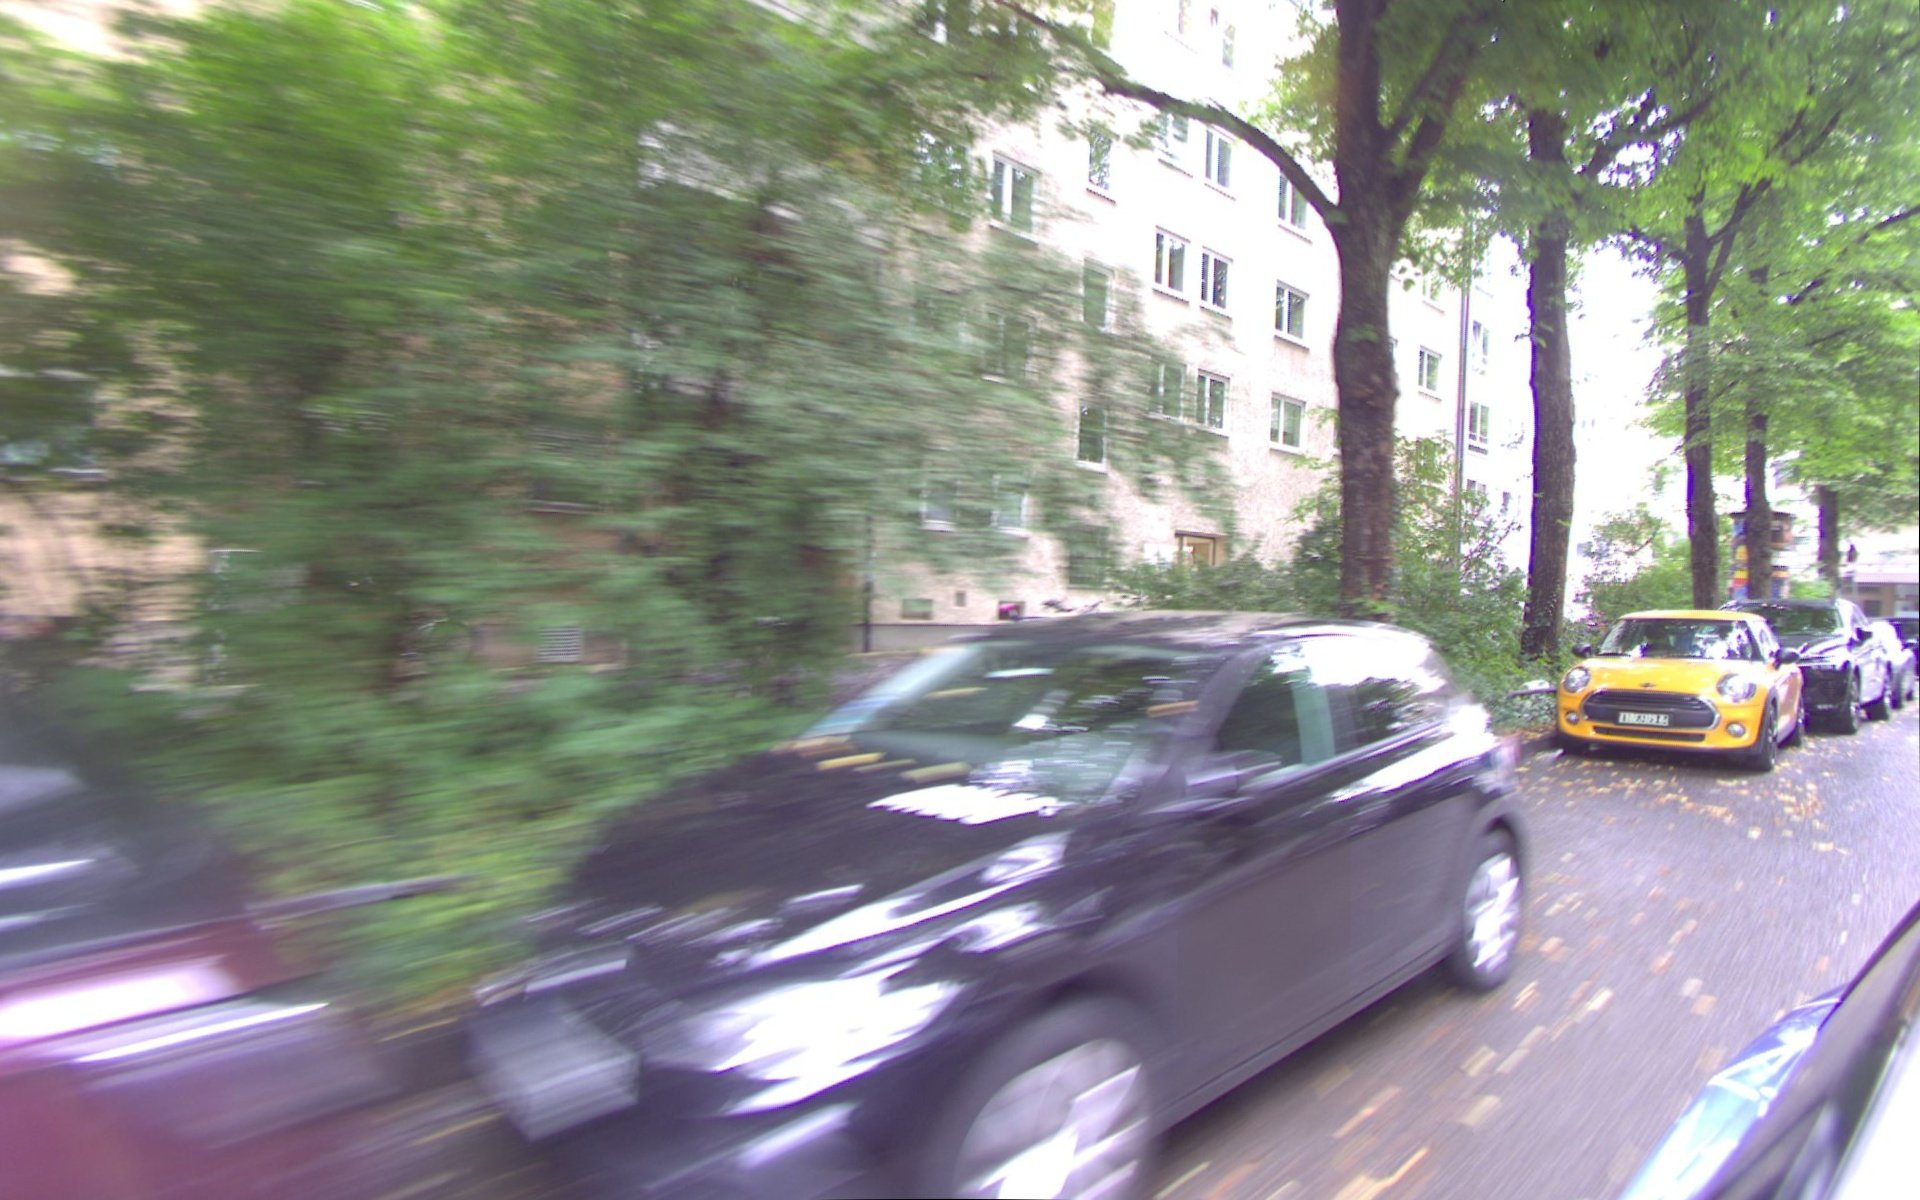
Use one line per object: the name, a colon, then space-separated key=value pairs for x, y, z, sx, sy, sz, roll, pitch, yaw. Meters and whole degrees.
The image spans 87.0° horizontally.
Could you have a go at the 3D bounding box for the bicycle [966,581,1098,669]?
bicycle: x=0.955 y=0.314 z=13.810 sx=1.829 sy=1.097 sz=0.539 roll=2 pitch=1 yaw=42

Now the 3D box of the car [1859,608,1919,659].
car: x=28.531 y=1.021 z=28.485 sx=1.928 sy=1.394 sz=4.721 roll=1 pitch=1 yaw=-45

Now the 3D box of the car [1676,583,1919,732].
car: x=11.238 y=0.661 z=13.430 sx=4.446 sy=1.649 sz=1.835 roll=1 pitch=0 yaw=-41

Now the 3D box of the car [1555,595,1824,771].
car: x=7.530 y=0.713 z=10.309 sx=3.718 sy=1.430 sz=1.619 roll=1 pitch=0 yaw=-45

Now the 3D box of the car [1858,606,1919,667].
car: x=24.924 y=0.952 z=25.019 sx=1.797 sy=1.465 sz=3.938 roll=1 pitch=1 yaw=-44

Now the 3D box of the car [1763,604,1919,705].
car: x=15.464 y=0.839 z=17.378 sx=4.353 sy=1.430 sz=1.902 roll=0 pitch=2 yaw=-42

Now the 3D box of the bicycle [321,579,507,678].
bicycle: x=-6.334 y=0.317 z=11.810 sx=1.805 sy=1.057 sz=0.554 roll=1 pitch=1 yaw=-43

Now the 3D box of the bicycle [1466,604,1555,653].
bicycle: x=13.714 y=0.684 z=25.235 sx=1.866 sy=1.138 sz=0.533 roll=2 pitch=0 yaw=37

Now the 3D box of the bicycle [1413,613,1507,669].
bicycle: x=10.833 y=0.871 z=21.955 sx=1.745 sy=1.138 sz=0.444 roll=1 pitch=0 yaw=14

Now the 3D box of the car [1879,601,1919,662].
car: x=26.809 y=0.886 z=26.411 sx=1.725 sy=1.575 sz=3.979 roll=1 pitch=1 yaw=-40

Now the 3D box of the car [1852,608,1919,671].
car: x=23.227 y=0.954 z=23.099 sx=1.703 sy=1.411 sz=4.092 roll=1 pitch=1 yaw=-39

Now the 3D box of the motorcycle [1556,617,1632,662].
motorcycle: x=18.742 y=1.150 z=29.926 sx=1.801 sy=1.213 sz=0.681 roll=2 pitch=1 yaw=43

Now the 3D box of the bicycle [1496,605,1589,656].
bicycle: x=13.966 y=0.712 z=24.278 sx=1.866 sy=1.138 sz=0.533 roll=2 pitch=0 yaw=37

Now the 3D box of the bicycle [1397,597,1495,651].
bicycle: x=10.939 y=0.524 z=22.822 sx=1.934 sy=1.138 sz=0.440 roll=2 pitch=0 yaw=34

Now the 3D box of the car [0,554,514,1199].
car: x=-2.495 y=0.665 z=0.836 sx=3.577 sy=1.493 sz=1.652 roll=1 pitch=0 yaw=-39

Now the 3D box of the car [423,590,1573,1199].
car: x=0.532 y=0.699 z=3.516 sx=3.940 sy=1.375 sz=1.684 roll=1 pitch=0 yaw=-42
